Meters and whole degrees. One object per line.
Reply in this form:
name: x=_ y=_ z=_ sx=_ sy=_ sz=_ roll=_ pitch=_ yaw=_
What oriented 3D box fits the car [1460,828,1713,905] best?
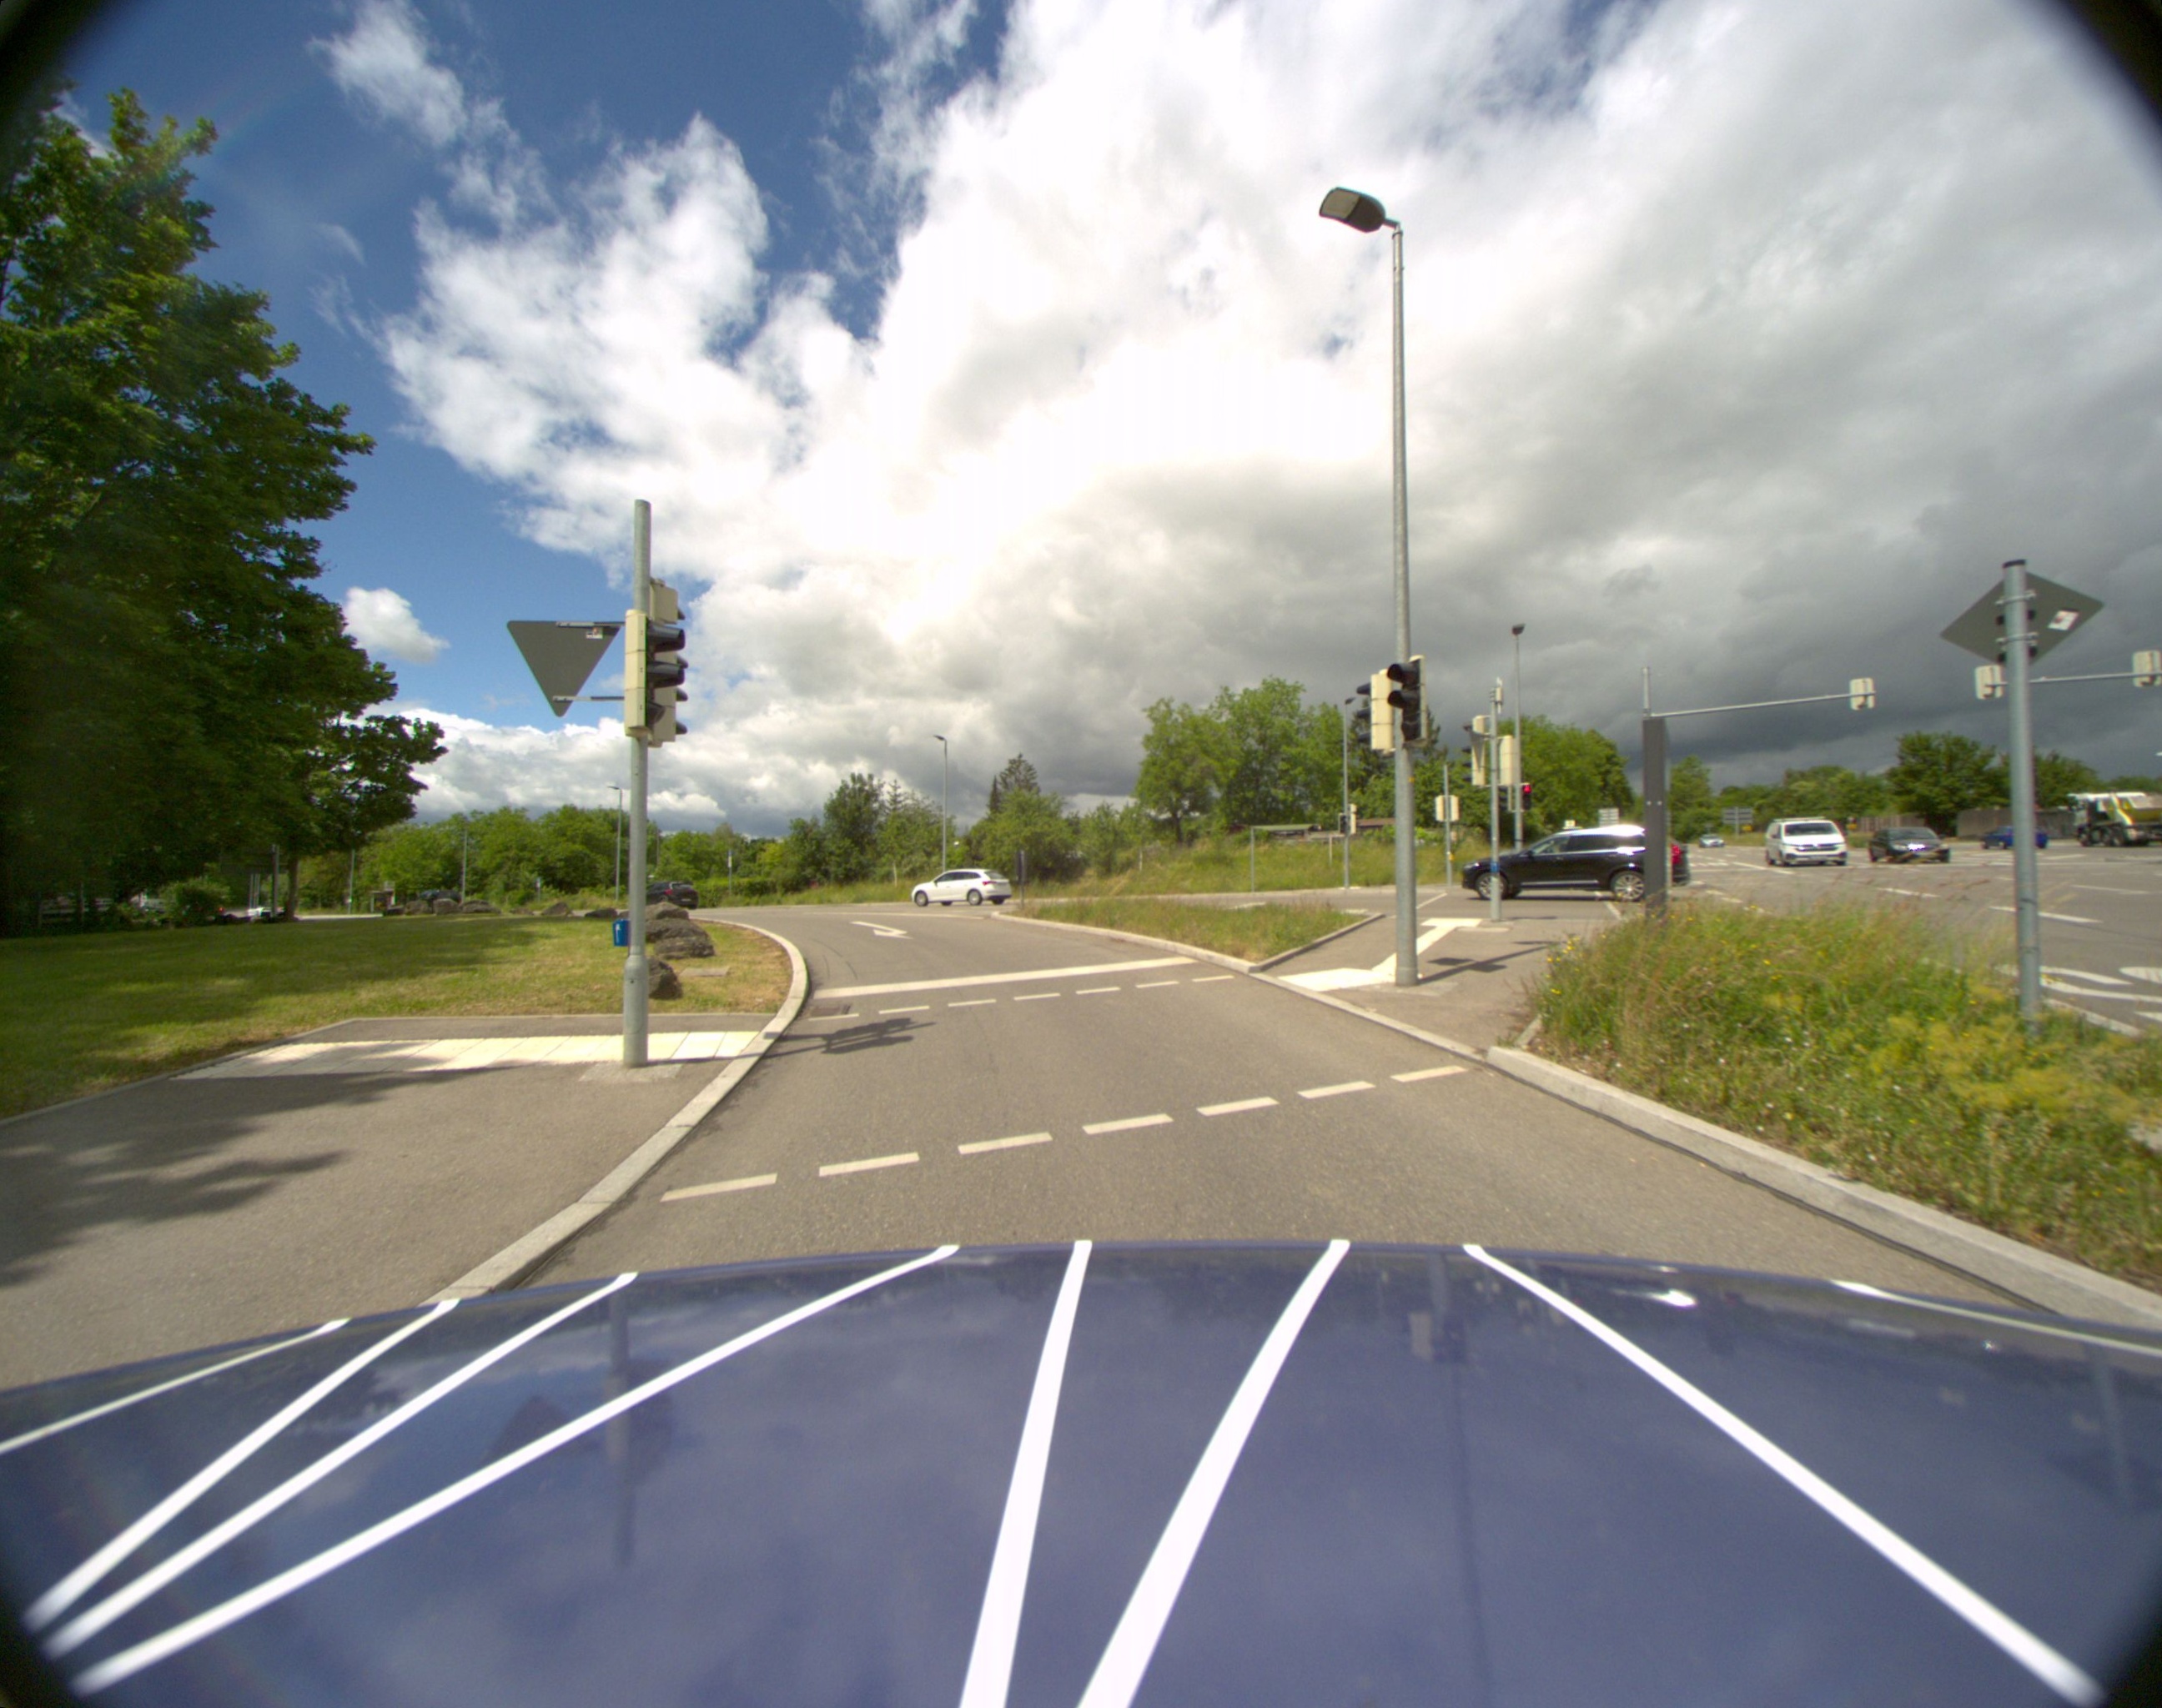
car: x=12.543 y=0.330 z=19.107 sx=1.914 sy=1.680 sz=4.969 roll=-2 pitch=0 yaw=-45

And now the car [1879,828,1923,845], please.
car: x=70.911 y=-1.478 z=65.756 sx=1.692 sy=1.392 sz=4.008 roll=-2 pitch=-1 yaw=34

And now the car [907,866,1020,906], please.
car: x=-4.769 y=1.304 z=30.672 sx=4.367 sy=1.461 sz=1.625 roll=-3 pitch=0 yaw=28

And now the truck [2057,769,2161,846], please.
truck: x=59.545 y=-2.528 z=43.175 sx=2.839 sy=3.555 sz=6.986 roll=-2 pitch=-5 yaw=34

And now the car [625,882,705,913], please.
car: x=-22.044 y=2.304 z=40.245 sx=4.154 sy=1.568 sz=1.794 roll=-3 pitch=-2 yaw=30

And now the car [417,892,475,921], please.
car: x=-45.621 y=3.784 z=54.559 sx=4.800 sy=1.767 sz=1.795 roll=-7 pitch=-4 yaw=33

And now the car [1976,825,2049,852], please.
car: x=57.082 y=-0.910 z=46.632 sx=1.692 sy=1.391 sz=4.010 roll=-2 pitch=-3 yaw=34

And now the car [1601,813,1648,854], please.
car: x=38.668 y=-1.423 z=53.977 sx=2.159 sy=2.634 sz=5.837 roll=-2 pitch=-1 yaw=40

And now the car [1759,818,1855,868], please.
car: x=30.862 y=-0.479 z=32.474 sx=1.906 sy=1.926 sz=4.980 roll=-2 pitch=0 yaw=32

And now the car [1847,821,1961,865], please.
car: x=34.210 y=-0.453 z=31.766 sx=1.906 sy=1.626 sz=4.980 roll=-2 pitch=0 yaw=32

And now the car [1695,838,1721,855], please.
car: x=70.122 y=-0.831 z=84.988 sx=1.994 sy=1.565 sz=4.011 roll=-2 pitch=-5 yaw=37

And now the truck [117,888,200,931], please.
truck: x=-86.456 y=5.159 z=71.159 sx=9.847 sy=3.835 sz=3.252 roll=-2 pitch=-4 yaw=30

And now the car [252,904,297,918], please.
car: x=-74.552 y=5.279 z=70.226 sx=4.597 sy=1.283 sz=1.915 roll=-3 pitch=-4 yaw=31
